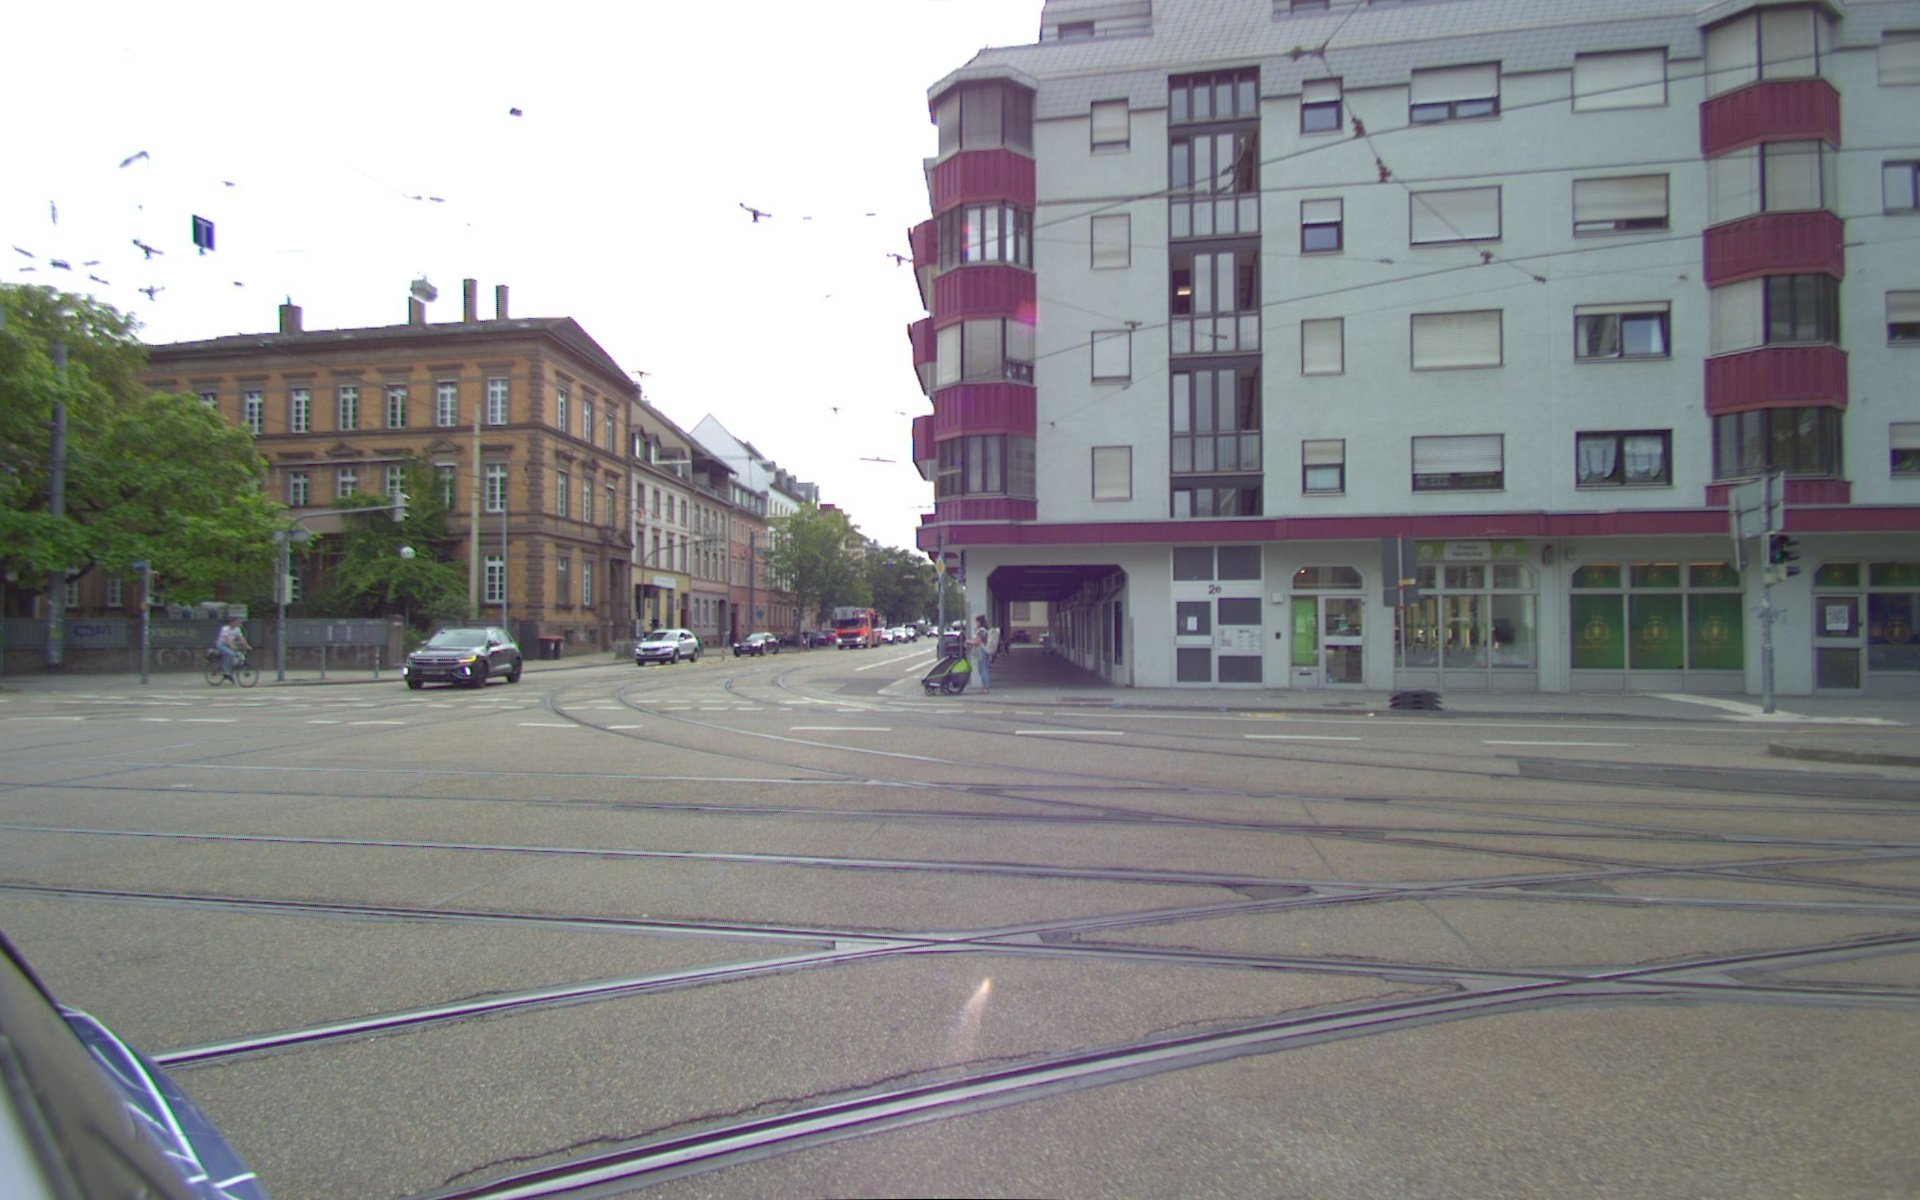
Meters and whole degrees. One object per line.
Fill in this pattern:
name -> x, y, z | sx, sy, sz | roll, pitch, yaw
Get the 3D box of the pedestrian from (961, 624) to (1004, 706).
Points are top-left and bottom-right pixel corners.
pedestrian -> 0.498, 1.402, 22.163 | 0.938, 1.757, 0.811 | 0, -2, 2

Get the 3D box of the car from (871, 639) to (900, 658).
car -> -6.896, 4.497, 94.010 | 1.975, 1.721, 4.046 | 0, -2, 5

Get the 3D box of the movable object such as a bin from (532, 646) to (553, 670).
movable object such as a bin -> -19.407, 2.691, 47.070 | 0.644, 1.090, 0.677 | 4, -1, 1

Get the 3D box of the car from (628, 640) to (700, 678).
car -> -13.549, 2.672, 46.542 | 1.752, 1.603, 4.275 | -1, -2, 5

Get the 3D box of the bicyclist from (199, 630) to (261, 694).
bicyclist -> -20.706, 1.743, 28.706 | 1.239, 1.774, 0.746 | 0, -2, 10

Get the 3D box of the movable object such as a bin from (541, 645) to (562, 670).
movable object such as a bin -> -19.288, 2.721, 47.775 | 0.656, 1.090, 0.701 | 4, -1, 1

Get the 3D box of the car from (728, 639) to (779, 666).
car -> -12.288, 3.110, 60.378 | 1.754, 1.547, 4.038 | -2, -2, 8

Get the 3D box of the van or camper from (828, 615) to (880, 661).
van or camper -> -8.392, 3.057, 81.470 | 2.576, 3.447, 9.639 | 0, -2, 4

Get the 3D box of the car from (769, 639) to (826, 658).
car -> -13.925, 4.182, 86.939 | 4.549, 1.484, 1.795 | 2, -3, -19

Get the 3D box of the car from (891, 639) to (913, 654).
car -> -5.955, 4.807, 104.694 | 1.887, 1.498, 3.996 | 0, -2, 3

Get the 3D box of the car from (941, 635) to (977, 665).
car -> -0.010, 2.905, 59.602 | 1.789, 1.660, 4.692 | -2, -2, 4

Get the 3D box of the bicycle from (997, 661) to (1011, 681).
bicycle -> 2.180, 3.526, 50.341 | 0.557, 0.960, 1.651 | 0, -2, -3

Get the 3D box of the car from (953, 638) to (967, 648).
car -> 0.020, 6.578, 155.537 | 1.752, 1.549, 4.042 | -1, -2, 5

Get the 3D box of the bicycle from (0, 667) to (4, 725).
bicycle -> -17.347, 1.688, 17.155 | 0.704, 1.026, 1.803 | 1, -1, -7

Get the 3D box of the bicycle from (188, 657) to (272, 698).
bicycle -> -20.686, 2.176, 28.680 | 1.994, 1.095, 0.748 | 0, -2, 11

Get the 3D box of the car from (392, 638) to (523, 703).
car -> -13.130, 1.797, 26.739 | 1.747, 1.559, 4.288 | 1, -2, -7

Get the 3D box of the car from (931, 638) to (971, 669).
car -> -0.419, 2.825, 53.750 | 1.737, 1.491, 4.692 | -2, -2, 4

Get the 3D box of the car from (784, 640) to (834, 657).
car -> -13.992, 4.479, 93.815 | 4.270, 1.491, 1.795 | 2, -3, -19

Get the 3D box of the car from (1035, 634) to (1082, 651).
car -> 8.115, 3.515, 83.399 | 3.594, 1.399, 1.614 | 0, -2, -4

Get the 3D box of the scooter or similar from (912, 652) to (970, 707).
scooter or similar -> -0.407, 1.731, 22.178 | 1.184, 1.137, 0.945 | -1, -2, 3

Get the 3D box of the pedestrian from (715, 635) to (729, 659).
pedestrian -> -17.925, 3.536, 76.245 | 0.723, 1.701, 0.925 | 4, -2, 4
